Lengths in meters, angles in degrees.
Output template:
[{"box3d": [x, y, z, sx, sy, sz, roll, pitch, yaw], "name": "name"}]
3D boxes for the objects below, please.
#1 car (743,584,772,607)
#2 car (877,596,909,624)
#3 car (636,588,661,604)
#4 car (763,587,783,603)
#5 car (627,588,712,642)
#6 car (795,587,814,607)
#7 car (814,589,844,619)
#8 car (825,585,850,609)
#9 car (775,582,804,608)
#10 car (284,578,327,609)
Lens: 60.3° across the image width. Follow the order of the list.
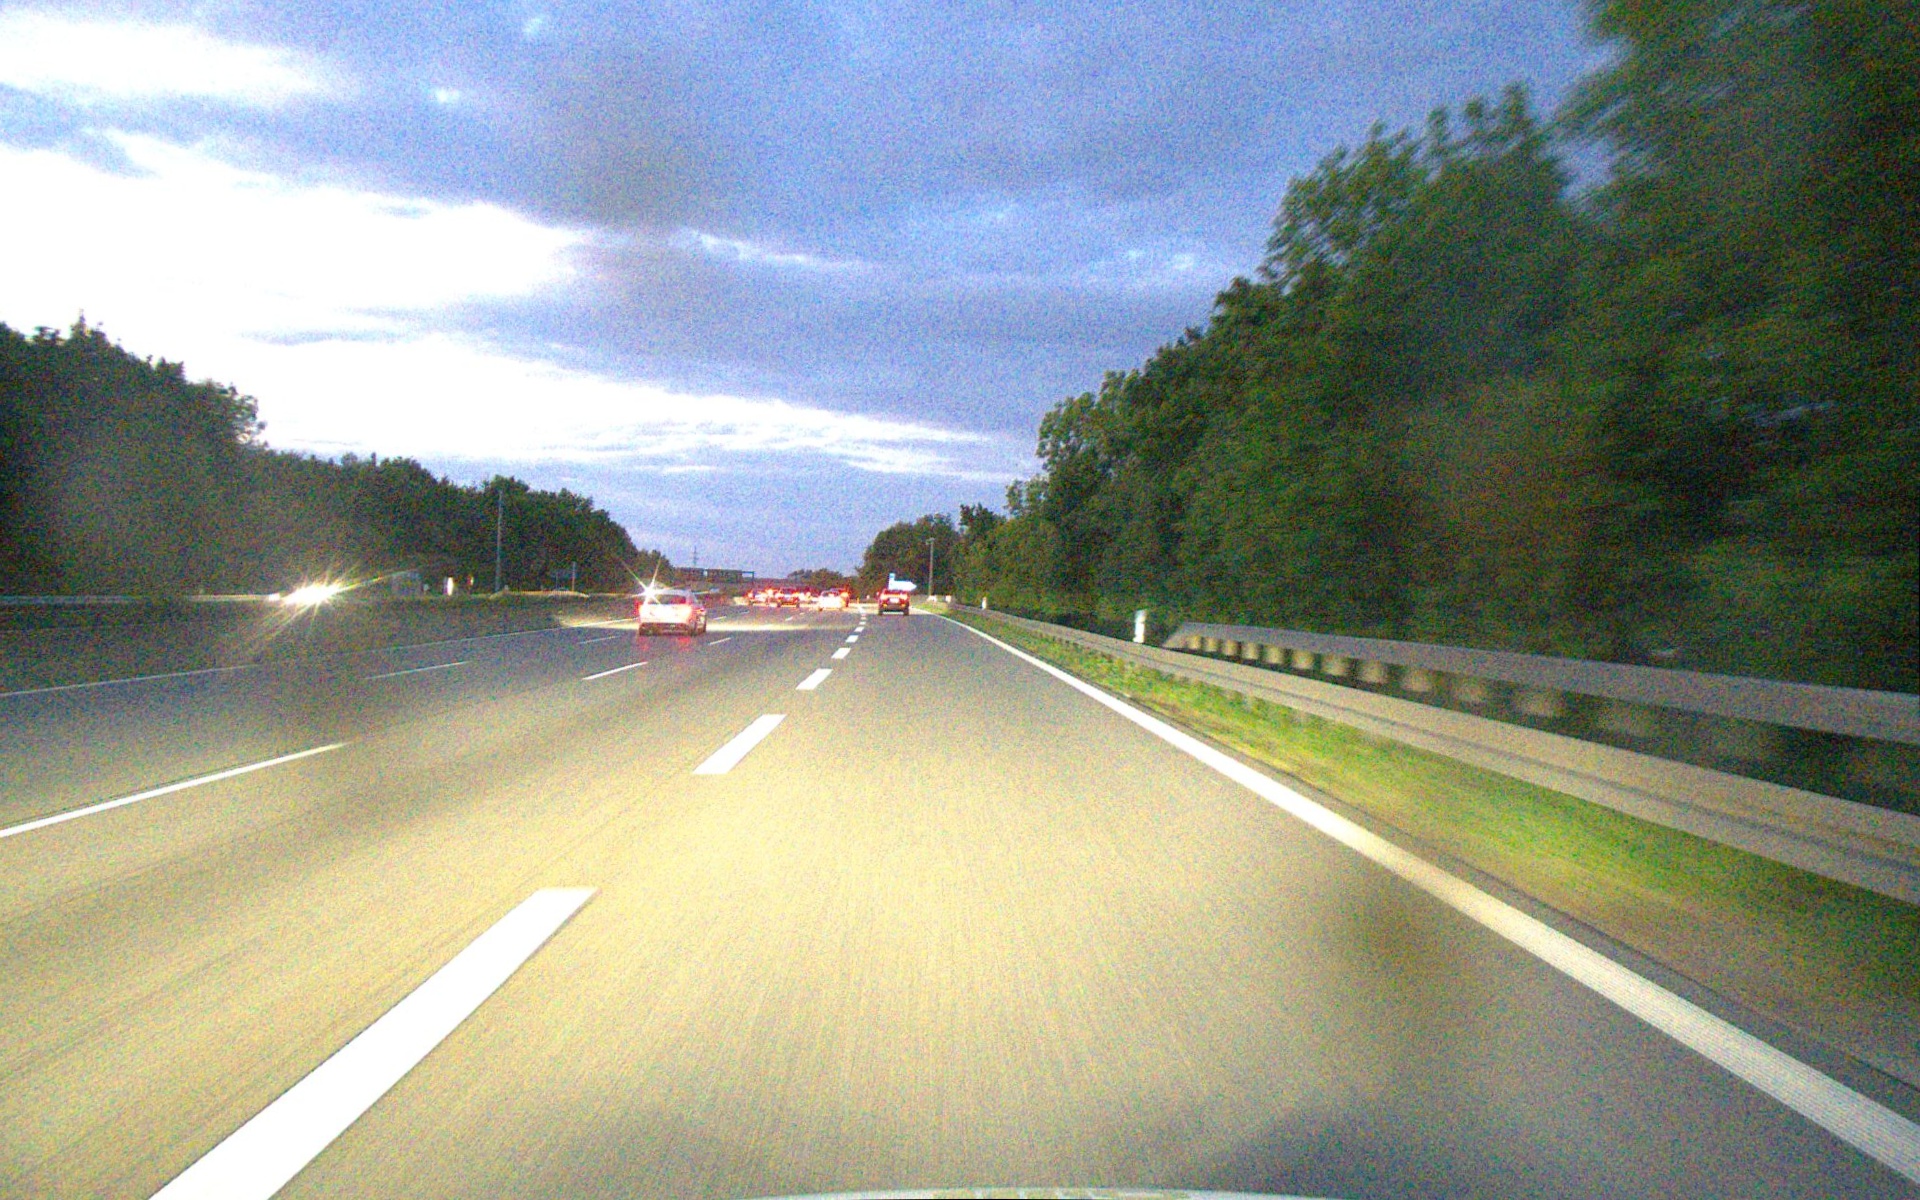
[{"box3d": [-18.176, -0.395, 148.878, 2.061, 2.049, 4.000, 0, 0, 1], "name": "car"}, {"box3d": [-4.133, 0.611, 101.624, 1.954, 1.688, 4.312, 0, 0, -3], "name": "car"}, {"box3d": [-33.650, -0.445, 178.943, 1.954, 1.694, 5.007, 1, 0, -3], "name": "car"}, {"box3d": [-25.940, -0.713, 229.470, 1.952, 2.048, 4.001, 5, 0, 3], "name": "car"}, {"box3d": [-9.460, 0.472, 54.130, 1.952, 1.671, 4.554, 0, 0, 0], "name": "car"}, {"box3d": [-16.528, -0.311, 175.900, 1.955, 2.049, 3.996, 1, 0, -5], "name": "car"}, {"box3d": [-9.146, 0.255, 115.429, 1.954, 2.049, 3.998, 1, 0, -3], "name": "car"}, {"box3d": [-10.614, -0.305, 143.365, 1.953, 2.049, 3.998, 0, 0, -2], "name": "car"}, {"box3d": [-13.775, -0.384, 133.723, 2.029, 2.049, 3.998, 0, 0, -2], "name": "car"}, {"box3d": [-44.490, -0.443, 112.428, 1.973, 2.049, 4.959, 1, 0, -30], "name": "car"}]
